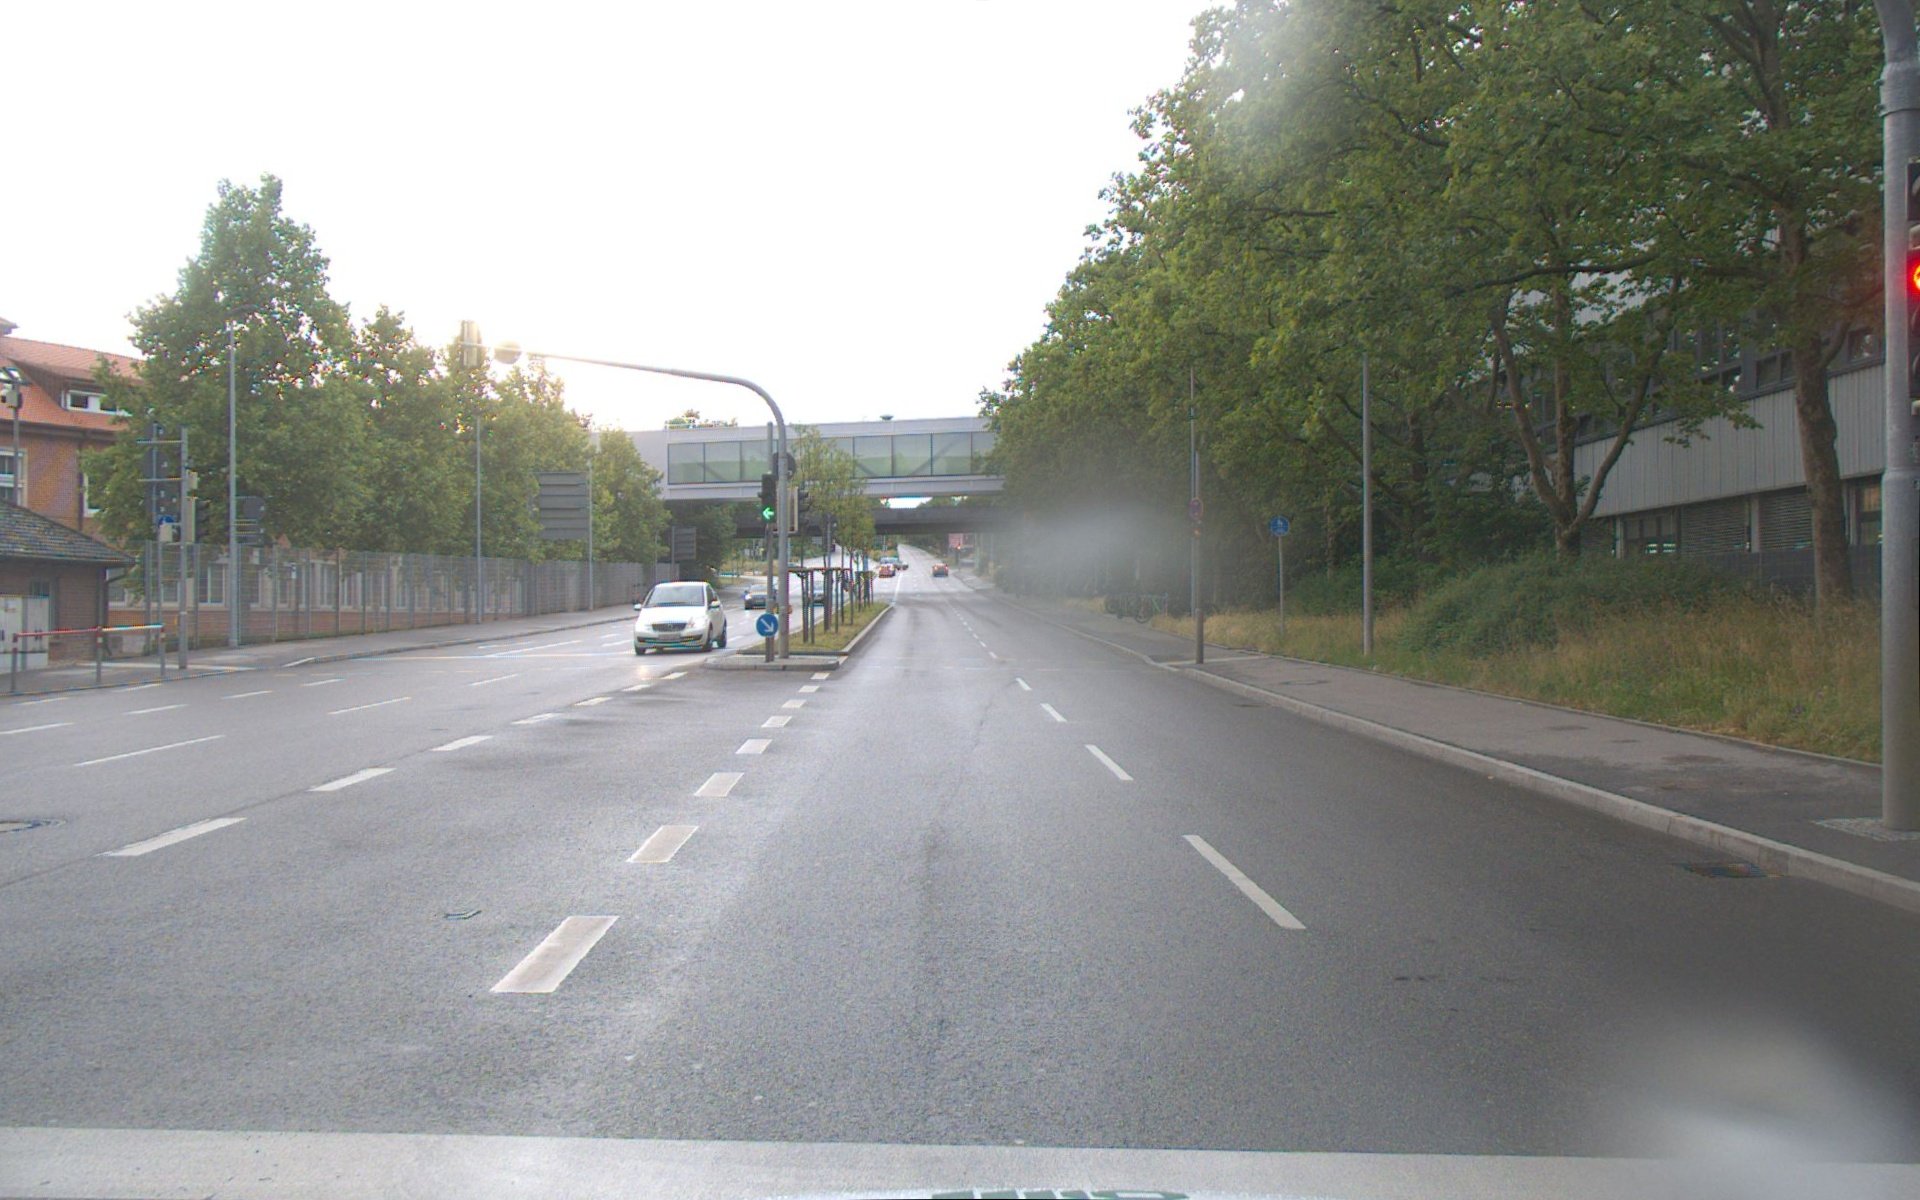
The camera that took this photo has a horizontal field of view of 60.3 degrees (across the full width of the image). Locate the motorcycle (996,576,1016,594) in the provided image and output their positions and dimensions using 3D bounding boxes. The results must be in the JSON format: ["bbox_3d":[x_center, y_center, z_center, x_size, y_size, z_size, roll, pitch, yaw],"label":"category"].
[{"bbox_3d":[3.487,-1.133,125.726,0.778,1.334,2.364,-1,0,-19],"label":"motorcycle"}]

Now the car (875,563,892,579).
[{"bbox_3d":[-9.541,-3.587,206.885,1.953,1.792,3.999,2,-1,-1],"label":"car"}]

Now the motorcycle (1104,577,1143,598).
[{"bbox_3d":[10.074,-0.748,101.738,2.318,1.223,0.723,-1,0,7],"label":"motorcycle"}]

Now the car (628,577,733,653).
[{"bbox_3d":[-6.517,0.319,38.907,1.839,1.653,3.778,-1,0,-1],"label":"car"}]

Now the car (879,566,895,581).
[{"bbox_3d":[-9.419,-3.441,213.039,1.846,1.792,3.968,2,-1,-1],"label":"car"}]

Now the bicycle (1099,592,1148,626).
[{"bbox_3d":[6.800,0.371,68.824,1.949,1.352,0.576,2,-1,0],"label":"bicycle"}]

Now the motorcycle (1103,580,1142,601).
[{"bbox_3d":[9.915,-0.604,100.648,2.318,1.223,0.723,-1,0,7],"label":"motorcycle"}]

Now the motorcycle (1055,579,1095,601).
[{"bbox_3d":[6.771,-0.582,97.315,2.318,1.223,0.723,-1,0,7],"label":"motorcycle"}]

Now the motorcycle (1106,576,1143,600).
[{"bbox_3d":[10.708,-0.780,107.519,2.318,1.502,0.723,-1,0,7],"label":"motorcycle"}]

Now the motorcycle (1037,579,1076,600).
[{"bbox_3d":[5.929,-0.646,101.945,2.318,1.223,0.723,-1,0,7],"label":"motorcycle"}]

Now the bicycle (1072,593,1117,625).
[{"bbox_3d":[6.016,0.406,73.966,1.923,1.352,0.654,2,-1,0],"label":"bicycle"}]

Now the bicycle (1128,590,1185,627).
[{"bbox_3d":[6.945,0.302,58.489,1.949,1.255,0.541,2,-1,0],"label":"bicycle"}]

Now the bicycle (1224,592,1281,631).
[{"bbox_3d":[10.675,0.408,60.320,1.949,1.352,0.576,2,-1,0],"label":"bicycle"}]

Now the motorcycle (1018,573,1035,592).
[{"bbox_3d":[4.873,-1.259,120.974,0.775,1.334,2.371,-1,0,-9],"label":"motorcycle"}]

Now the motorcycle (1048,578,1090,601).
[{"bbox_3d":[6.268,-0.611,95.147,2.318,1.223,0.723,-1,0,7],"label":"motorcycle"}]

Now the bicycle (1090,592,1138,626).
[{"bbox_3d":[6.469,0.380,69.530,1.949,1.352,0.576,2,-1,0],"label":"bicycle"}]

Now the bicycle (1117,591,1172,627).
[{"bbox_3d":[6.825,0.326,61.256,1.949,1.263,0.541,2,-1,0],"label":"bicycle"}]

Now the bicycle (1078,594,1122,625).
[{"bbox_3d":[6.328,0.425,74.776,1.923,1.352,0.654,2,-1,0],"label":"bicycle"}]

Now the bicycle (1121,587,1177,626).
[{"bbox_3d":[6.930,0.254,60.567,1.949,1.364,0.541,2,-1,0],"label":"bicycle"}]

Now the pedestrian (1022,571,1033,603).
[{"bbox_3d":[4.297,-0.818,104.850,0.609,2.049,0.605,-1,0,-1],"label":"pedestrian"}]

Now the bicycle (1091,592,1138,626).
[{"bbox_3d":[6.589,0.387,70.769,1.920,1.352,0.576,2,-1,0],"label":"bicycle"}]

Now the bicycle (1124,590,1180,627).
[{"bbox_3d":[6.950,0.314,59.854,1.949,1.263,0.541,2,-1,0],"label":"bicycle"}]

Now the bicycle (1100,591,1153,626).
[{"bbox_3d":[6.397,0.340,63.573,1.949,1.263,0.541,2,-1,0],"label":"bicycle"}]

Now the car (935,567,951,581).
[{"bbox_3d":[-2.072,-3.203,203.230,1.837,1.523,4.067,2,-1,-1],"label":"car"}]

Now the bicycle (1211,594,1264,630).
[{"bbox_3d":[10.808,0.461,64.381,1.949,1.352,0.576,2,-1,0],"label":"bicycle"}]

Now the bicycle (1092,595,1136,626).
[{"bbox_3d":[7.113,0.469,76.289,1.923,1.352,0.654,2,-1,0],"label":"bicycle"}]

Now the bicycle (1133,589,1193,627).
[{"bbox_3d":[6.912,0.284,56.299,1.949,1.237,0.541,2,-1,0],"label":"bicycle"}]

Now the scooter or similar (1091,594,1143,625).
[{"bbox_3d":[6.094,0.377,64.360,1.949,1.157,0.541,2,-1,0],"label":"scooter or similar"}]

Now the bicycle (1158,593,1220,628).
[{"bbox_3d":[7.601,0.351,54.850,1.949,1.114,0.541,2,-1,0],"label":"bicycle"}]

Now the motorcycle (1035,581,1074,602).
[{"bbox_3d":[5.726,-0.510,100.170,2.318,1.223,0.723,-1,0,7],"label":"motorcycle"}]

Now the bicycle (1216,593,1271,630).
[{"bbox_3d":[10.803,0.445,63.079,1.949,1.352,0.576,2,-1,0],"label":"bicycle"}]

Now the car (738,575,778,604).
[{"bbox_3d":[-11.627,-0.613,95.452,1.839,1.653,3.778,-1,0,-1],"label":"car"}]

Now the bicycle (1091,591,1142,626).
[{"bbox_3d":[6.276,0.336,66.286,1.949,1.352,0.576,2,-1,0],"label":"bicycle"}]

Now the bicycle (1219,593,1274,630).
[{"bbox_3d":[10.812,0.438,62.414,1.949,1.352,0.576,2,-1,0],"label":"bicycle"}]

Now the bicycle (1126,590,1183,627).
[{"bbox_3d":[6.950,0.306,59.165,1.949,1.263,0.541,2,-1,0],"label":"bicycle"}]

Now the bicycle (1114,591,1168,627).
[{"bbox_3d":[6.807,0.337,62.205,1.949,1.263,0.541,2,-1,0],"label":"bicycle"}]

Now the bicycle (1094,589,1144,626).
[{"bbox_3d":[6.519,0.300,67.967,1.949,1.455,0.723,2,-1,0],"label":"bicycle"}]

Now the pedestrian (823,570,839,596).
[{"bbox_3d":[-10.197,-1.313,130.686,0.855,2.039,0.854,-1,0,27],"label":"pedestrian"}]

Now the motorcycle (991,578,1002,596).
[{"bbox_3d":[3.201,-1.160,145.019,0.774,1.560,2.375,-1,0,-2],"label":"motorcycle"}]

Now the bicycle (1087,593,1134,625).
[{"bbox_3d":[6.494,0.392,71.458,1.923,1.352,0.654,2,-1,0],"label":"bicycle"}]

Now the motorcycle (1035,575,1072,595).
[{"bbox_3d":[6.032,-0.939,106.456,2.318,1.223,0.723,-1,0,7],"label":"motorcycle"}]

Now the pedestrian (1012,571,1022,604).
[{"bbox_3d":[3.628,-0.790,105.293,0.609,2.049,0.605,-1,0,-1],"label":"pedestrian"}]

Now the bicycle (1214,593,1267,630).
[{"bbox_3d":[10.807,0.453,63.757,1.949,1.352,0.576,2,-1,0],"label":"bicycle"}]

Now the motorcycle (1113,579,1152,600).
[{"bbox_3d":[10.352,-0.648,99.373,2.318,1.223,0.723,-1,0,7],"label":"motorcycle"}]

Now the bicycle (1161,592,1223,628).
[{"bbox_3d":[7.608,0.344,54.282,1.949,1.114,0.541,2,-1,0],"label":"bicycle"}]

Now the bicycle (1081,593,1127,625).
[{"bbox_3d":[6.354,0.406,73.058,1.923,1.352,0.654,2,-1,0],"label":"bicycle"}]

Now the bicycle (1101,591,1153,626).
[{"bbox_3d":[6.605,0.337,65.481,1.949,1.352,0.576,2,-1,0],"label":"bicycle"}]

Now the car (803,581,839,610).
[{"bbox_3d":[-8.264,-0.262,98.714,1.839,1.653,3.778,-1,0,-1],"label":"car"}]
